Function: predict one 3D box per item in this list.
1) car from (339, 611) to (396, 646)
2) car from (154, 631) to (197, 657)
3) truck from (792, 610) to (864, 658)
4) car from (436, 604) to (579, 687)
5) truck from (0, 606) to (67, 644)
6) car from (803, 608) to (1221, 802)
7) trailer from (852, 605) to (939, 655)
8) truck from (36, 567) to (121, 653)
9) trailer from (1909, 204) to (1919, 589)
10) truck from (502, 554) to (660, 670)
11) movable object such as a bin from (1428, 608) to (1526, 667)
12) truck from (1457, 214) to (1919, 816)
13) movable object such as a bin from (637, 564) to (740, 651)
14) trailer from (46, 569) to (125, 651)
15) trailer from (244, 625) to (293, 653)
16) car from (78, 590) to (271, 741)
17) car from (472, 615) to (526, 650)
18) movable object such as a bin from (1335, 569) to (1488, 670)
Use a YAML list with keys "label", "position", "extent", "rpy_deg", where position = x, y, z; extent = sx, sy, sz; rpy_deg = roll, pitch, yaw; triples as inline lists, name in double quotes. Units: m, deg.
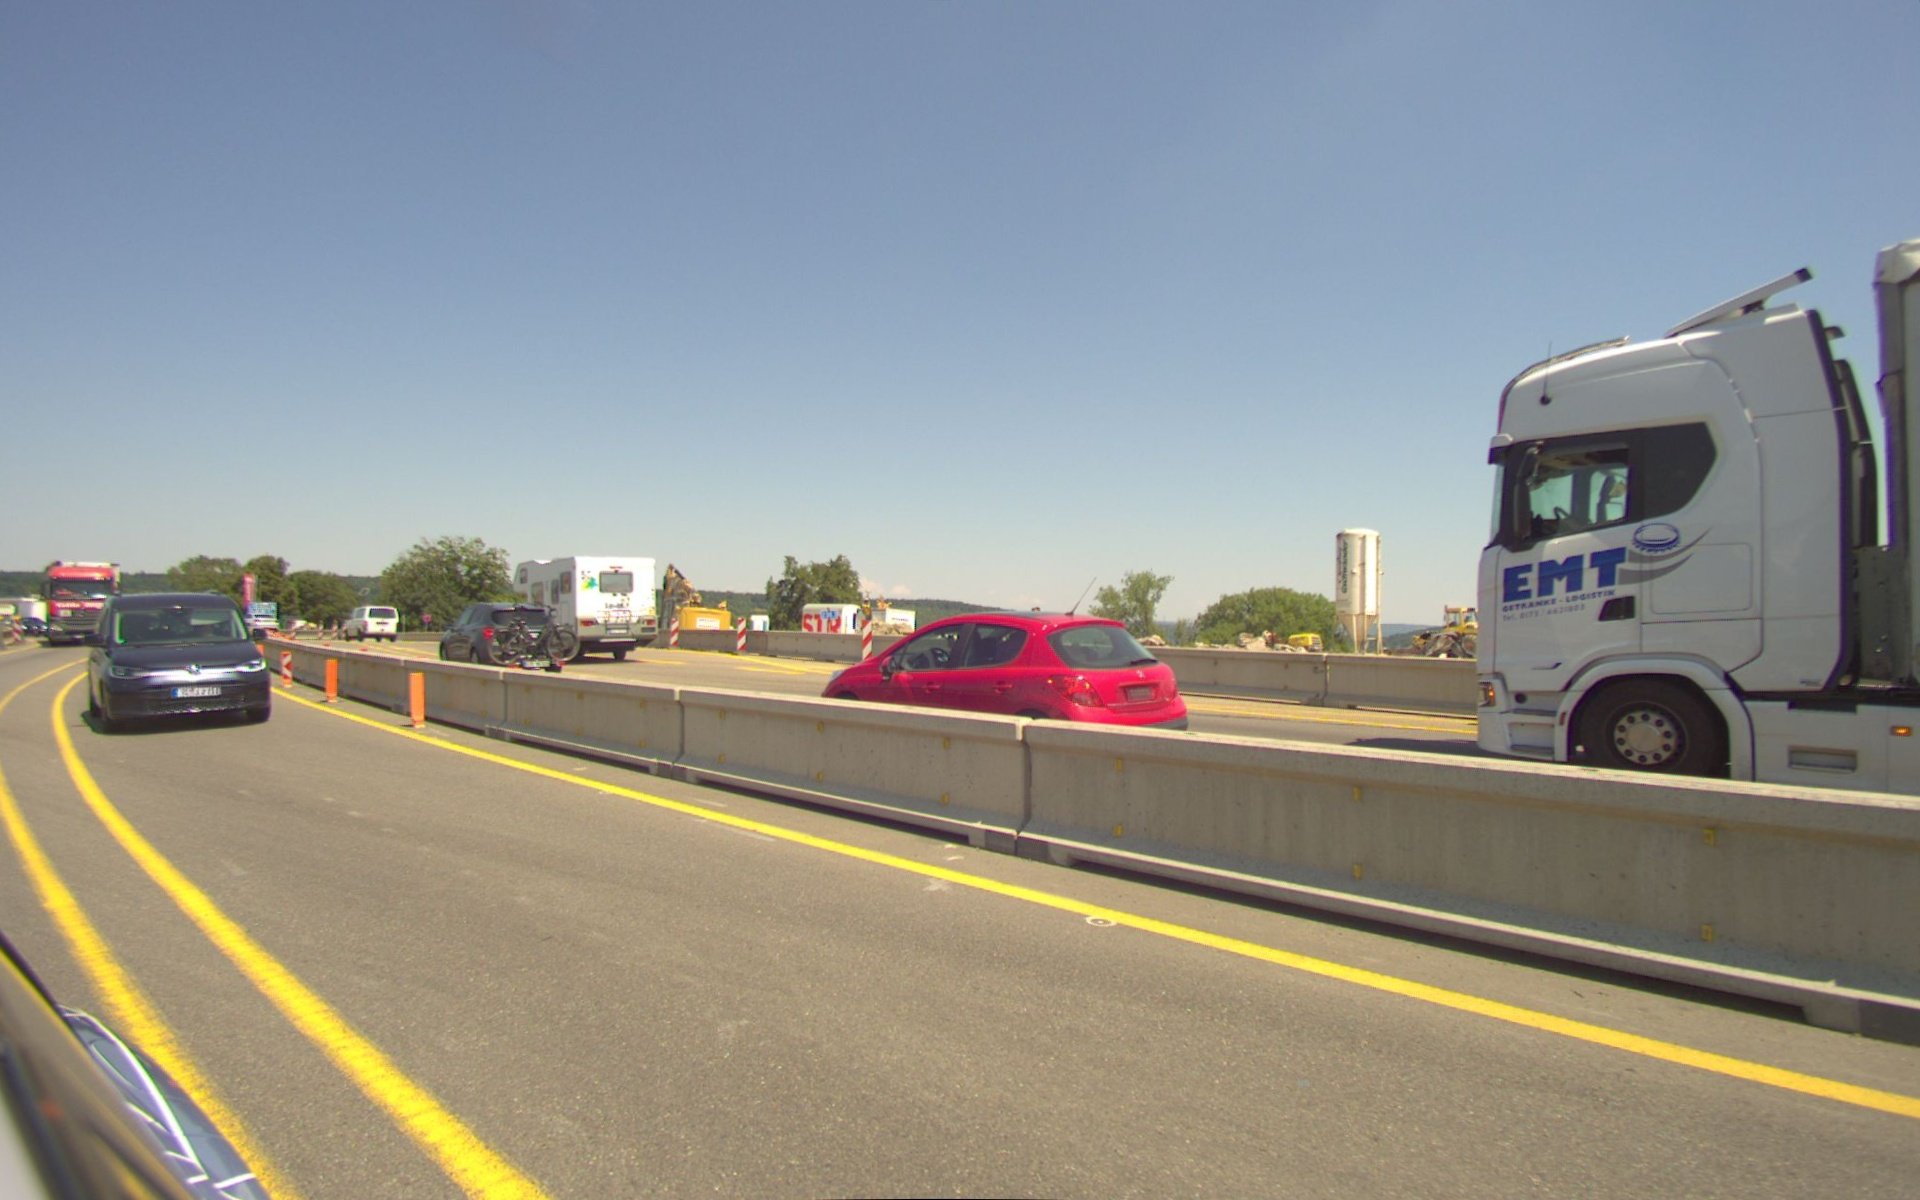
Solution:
- label: "car"
  position: [-34.288, 1.669, 58.485]
  extent: [1.843, 1.968, 4.897]
  rpy_deg: [2, -3, -42]
- label: "car"
  position: [-41.098, 2.282, 53.054]
  extent: [1.688, 1.271, 4.008]
  rpy_deg: [1, -2, -38]
- label: "truck"
  position: [-8.753, 2.275, 67.072]
  extent: [4.254, 3.067, 2.321]
  rpy_deg: [-1, -2, 34]
- label: "car"
  position: [-9.946, 0.964, 22.085]
  extent: [1.639, 1.617, 4.402]
  rpy_deg: [2, -2, -41]
- label: "truck"
  position: [-84.890, 2.314, 92.653]
  extent: [6.900, 3.407, 2.561]
  rpy_deg: [-1, -2, 30]
- label: "car"
  position: [0.325, 0.867, 9.760]
  extent: [1.649, 1.487, 3.973]
  rpy_deg: [2, -3, -44]
- label: "trailer"
  position: [-4.051, 1.915, 64.818]
  extent: [2.876, 3.020, 5.517]
  rpy_deg: [-1, -2, 34]
- label: "truck"
  position: [-42.356, 0.534, 48.758]
  extent: [2.586, 3.933, 4.944]
  rpy_deg: [1, -2, -37]
- label: "trailer"
  position: [12.413, -0.739, 2.940]
  extent: [13.981, 4.146, 2.729]
  rpy_deg: [-2, -3, 44]
- label: "truck"
  position: [-11.565, 0.430, 30.449]
  extent: [2.410, 3.095, 7.262]
  rpy_deg: [1, -2, -38]
- label: "movable object such as a bin"
  position: [29.067, 2.094, 57.061]
  extent: [1.966, 3.165, 4.499]
  rpy_deg: [1, -2, -31]
- label: "truck"
  position: [7.319, -0.554, 7.953]
  extent: [2.669, 4.093, 5.505]
  rpy_deg: [2, -3, -43]
- label: "movable object such as a bin"
  position: [-15.071, 0.522, 55.576]
  extent: [2.884, 4.363, 9.352]
  rpy_deg: [1, -2, -32]
- label: "trailer"
  position: [-46.489, 0.647, 53.661]
  extent: [2.662, 3.904, 12.435]
  rpy_deg: [2, -3, -43]
- label: "trailer"
  position: [-50.721, 2.855, 74.244]
  extent: [4.432, 2.037, 1.847]
  rpy_deg: [-2, -2, 40]
- label: "car"
  position: [-11.327, 0.828, 14.464]
  extent: [1.897, 1.803, 4.609]
  rpy_deg: [0, -1, -41]
- label: "car"
  position: [-22.645, 1.580, 49.638]
  extent: [1.697, 1.640, 4.347]
  rpy_deg: [1, -2, -35]
- label: "movable object such as a bin"
  position: [15.032, 0.673, 33.908]
  extent: [1.966, 3.165, 4.290]
  rpy_deg: [1, -2, -31]
